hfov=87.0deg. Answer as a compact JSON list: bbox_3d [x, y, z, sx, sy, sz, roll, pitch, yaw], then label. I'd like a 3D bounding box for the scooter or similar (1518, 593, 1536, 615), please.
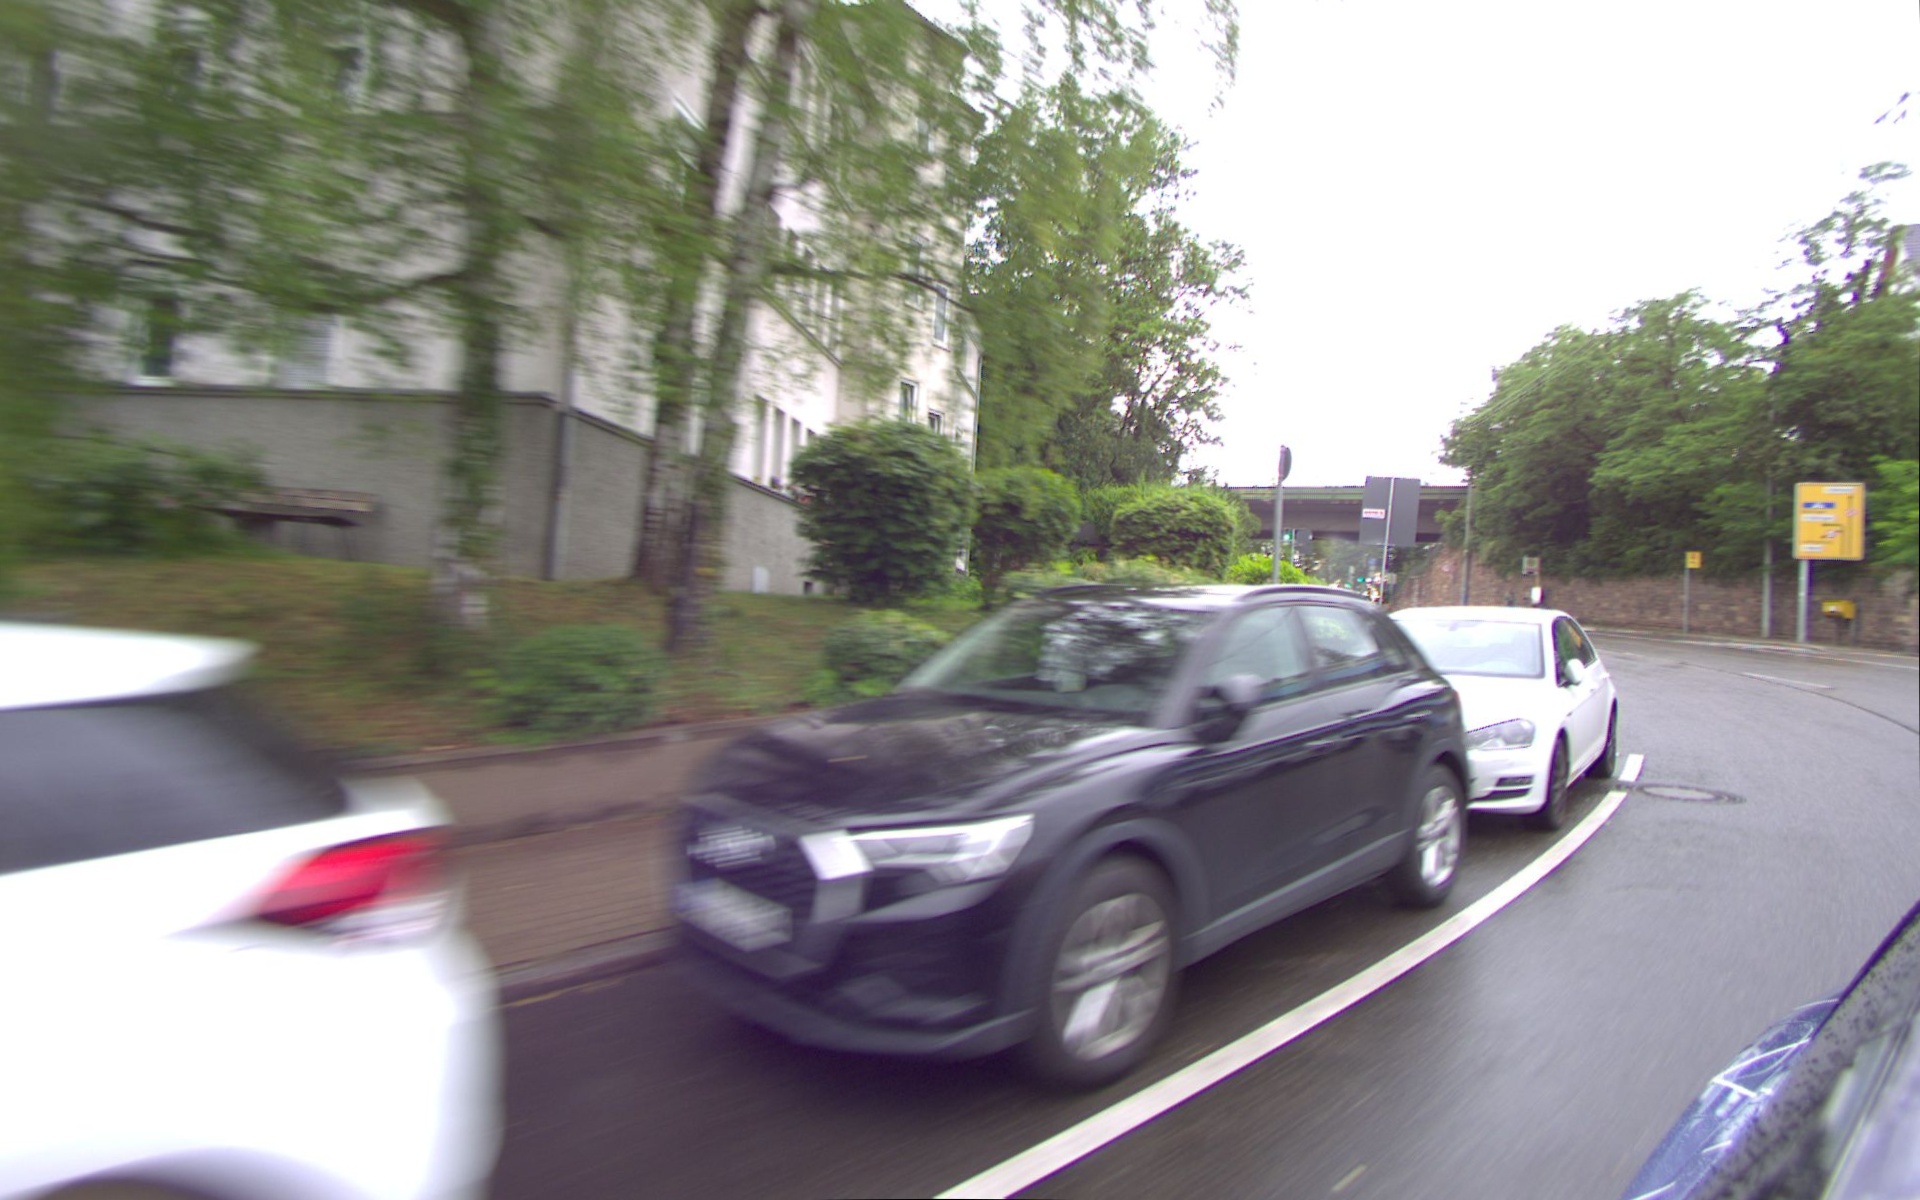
[{"bbox_3d":[31.406,0.222,56.065,0.368,1.196,1.124,1,2,5],"label":"scooter or similar"}]

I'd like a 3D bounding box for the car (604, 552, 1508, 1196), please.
[{"bbox_3d":[0.820,0.657,4.495,4.254,1.538,1.626,0,0,-44],"label":"car"}]

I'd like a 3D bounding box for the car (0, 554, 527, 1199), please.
[{"bbox_3d":[-2.853,0.661,1.259,3.956,1.482,1.731,0,2,-37],"label":"car"}]

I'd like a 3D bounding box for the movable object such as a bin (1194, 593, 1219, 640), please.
[{"bbox_3d":[5.684,0.373,23.328,0.524,1.025,0.687,2,2,14],"label":"movable object such as a bin"}]

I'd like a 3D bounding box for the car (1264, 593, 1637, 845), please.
[{"bbox_3d":[4.128,0.701,8.146,1.787,1.464,4.047,-1,0,40],"label":"car"}]

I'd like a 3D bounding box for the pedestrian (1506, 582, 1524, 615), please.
[{"bbox_3d":[30.610,-0.092,55.801,0.579,1.753,0.623,1,2,3],"label":"pedestrian"}]
